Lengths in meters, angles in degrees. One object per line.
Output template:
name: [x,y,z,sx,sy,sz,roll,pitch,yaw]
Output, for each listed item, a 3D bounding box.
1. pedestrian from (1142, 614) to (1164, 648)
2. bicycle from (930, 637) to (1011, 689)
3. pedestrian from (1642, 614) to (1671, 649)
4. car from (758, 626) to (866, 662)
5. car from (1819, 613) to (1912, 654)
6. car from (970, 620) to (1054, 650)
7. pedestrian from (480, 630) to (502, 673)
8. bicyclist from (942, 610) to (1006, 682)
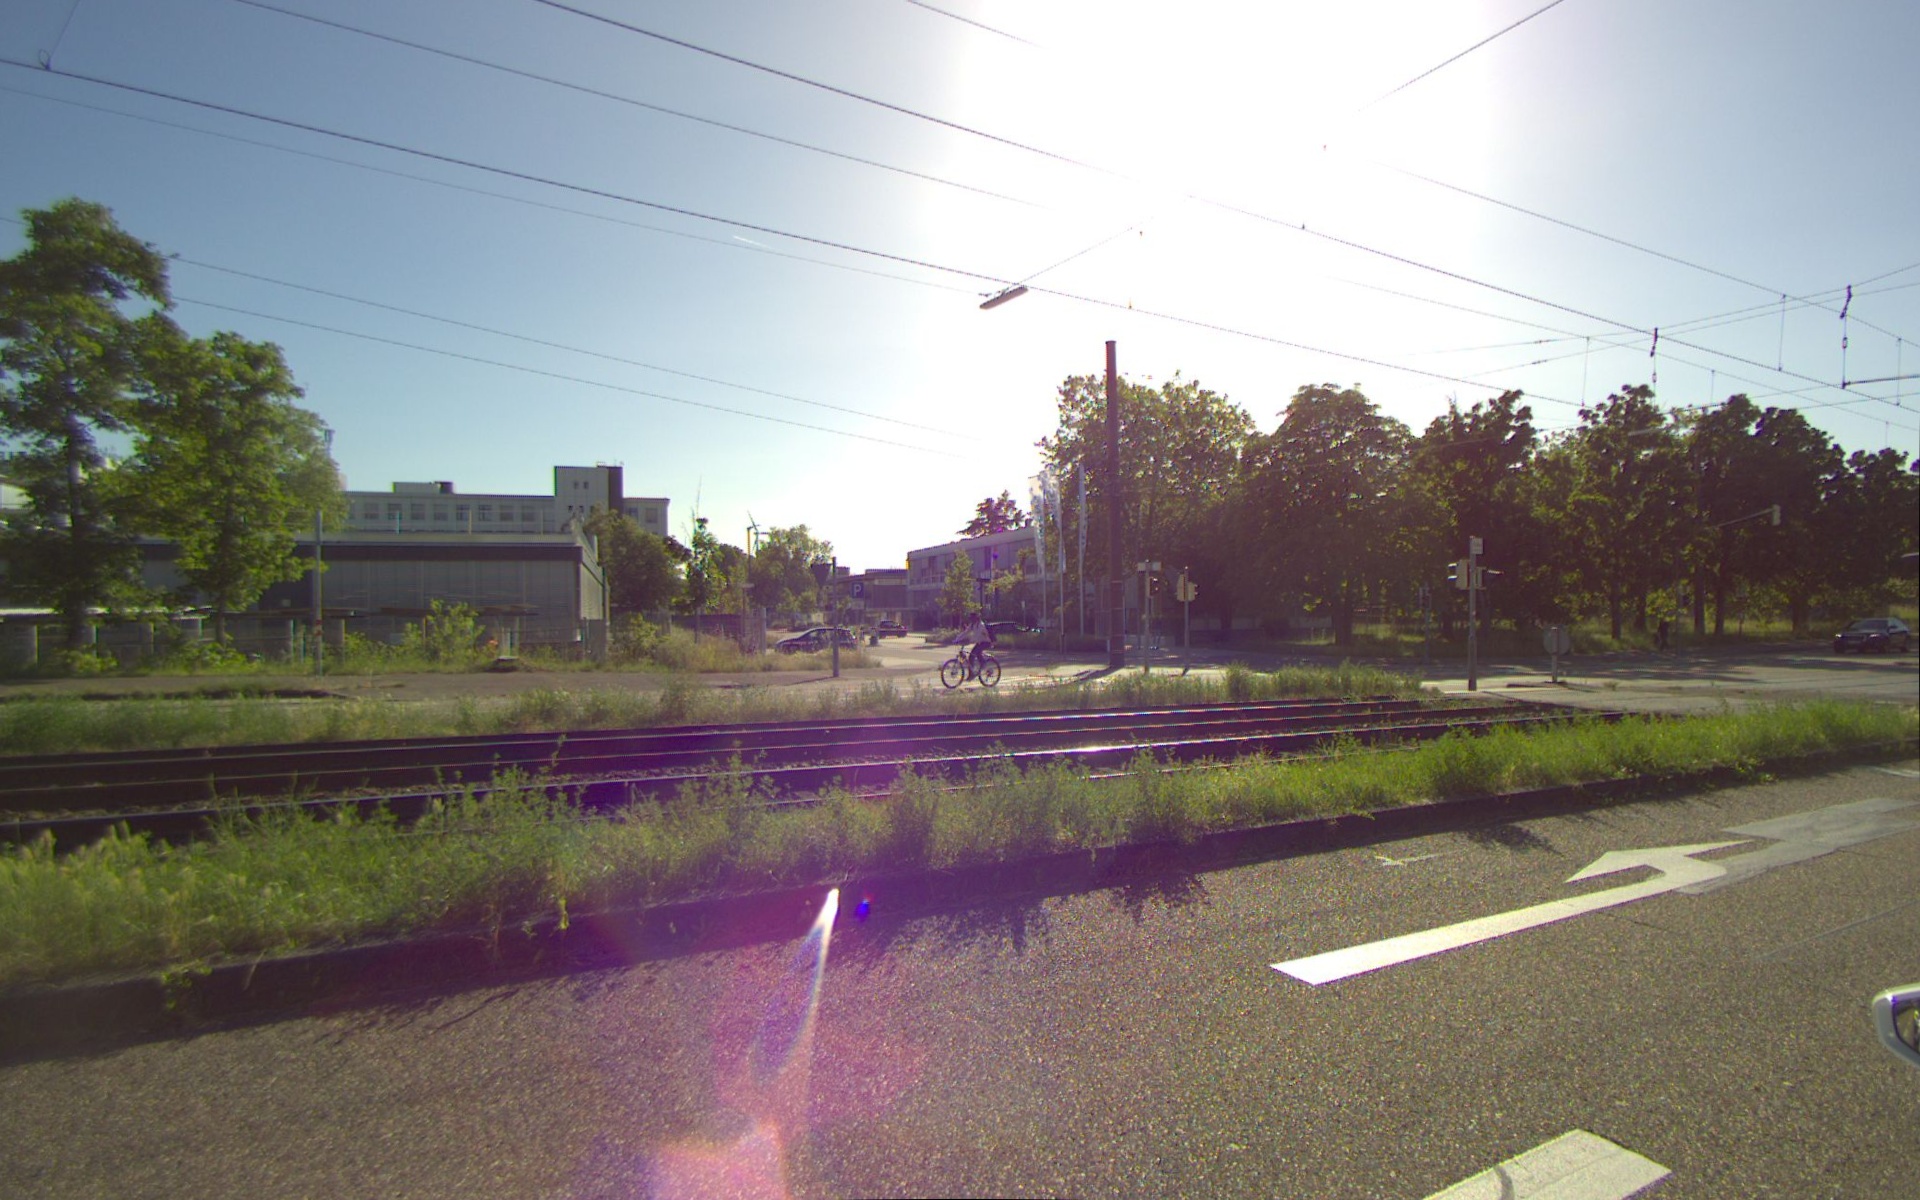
pedestrian: [10.352,1.649,53.967,0.807,1.811,0.950,0,0,-16]
bicycle: [0.240,1.428,23.080,1.760,1.117,0.693,1,0,-30]
pedestrian: [35.378,1.596,51.005,0.919,1.757,0.761,0,0,-2]
car: [-7.671,2.260,51.921,5.210,1.772,2.164,1,0,-19]
car: [43.179,1.586,47.875,4.739,1.834,2.082,0,-2,-32]
car: [3.208,2.141,61.716,4.768,1.751,2.041,1,0,-21]
pedestrian: [-14.693,1.609,31.468,0.432,1.318,0.441,0,0,18]
bicyclist: [0.315,1.045,23.119,1.221,1.614,0.799,1,0,-29]
